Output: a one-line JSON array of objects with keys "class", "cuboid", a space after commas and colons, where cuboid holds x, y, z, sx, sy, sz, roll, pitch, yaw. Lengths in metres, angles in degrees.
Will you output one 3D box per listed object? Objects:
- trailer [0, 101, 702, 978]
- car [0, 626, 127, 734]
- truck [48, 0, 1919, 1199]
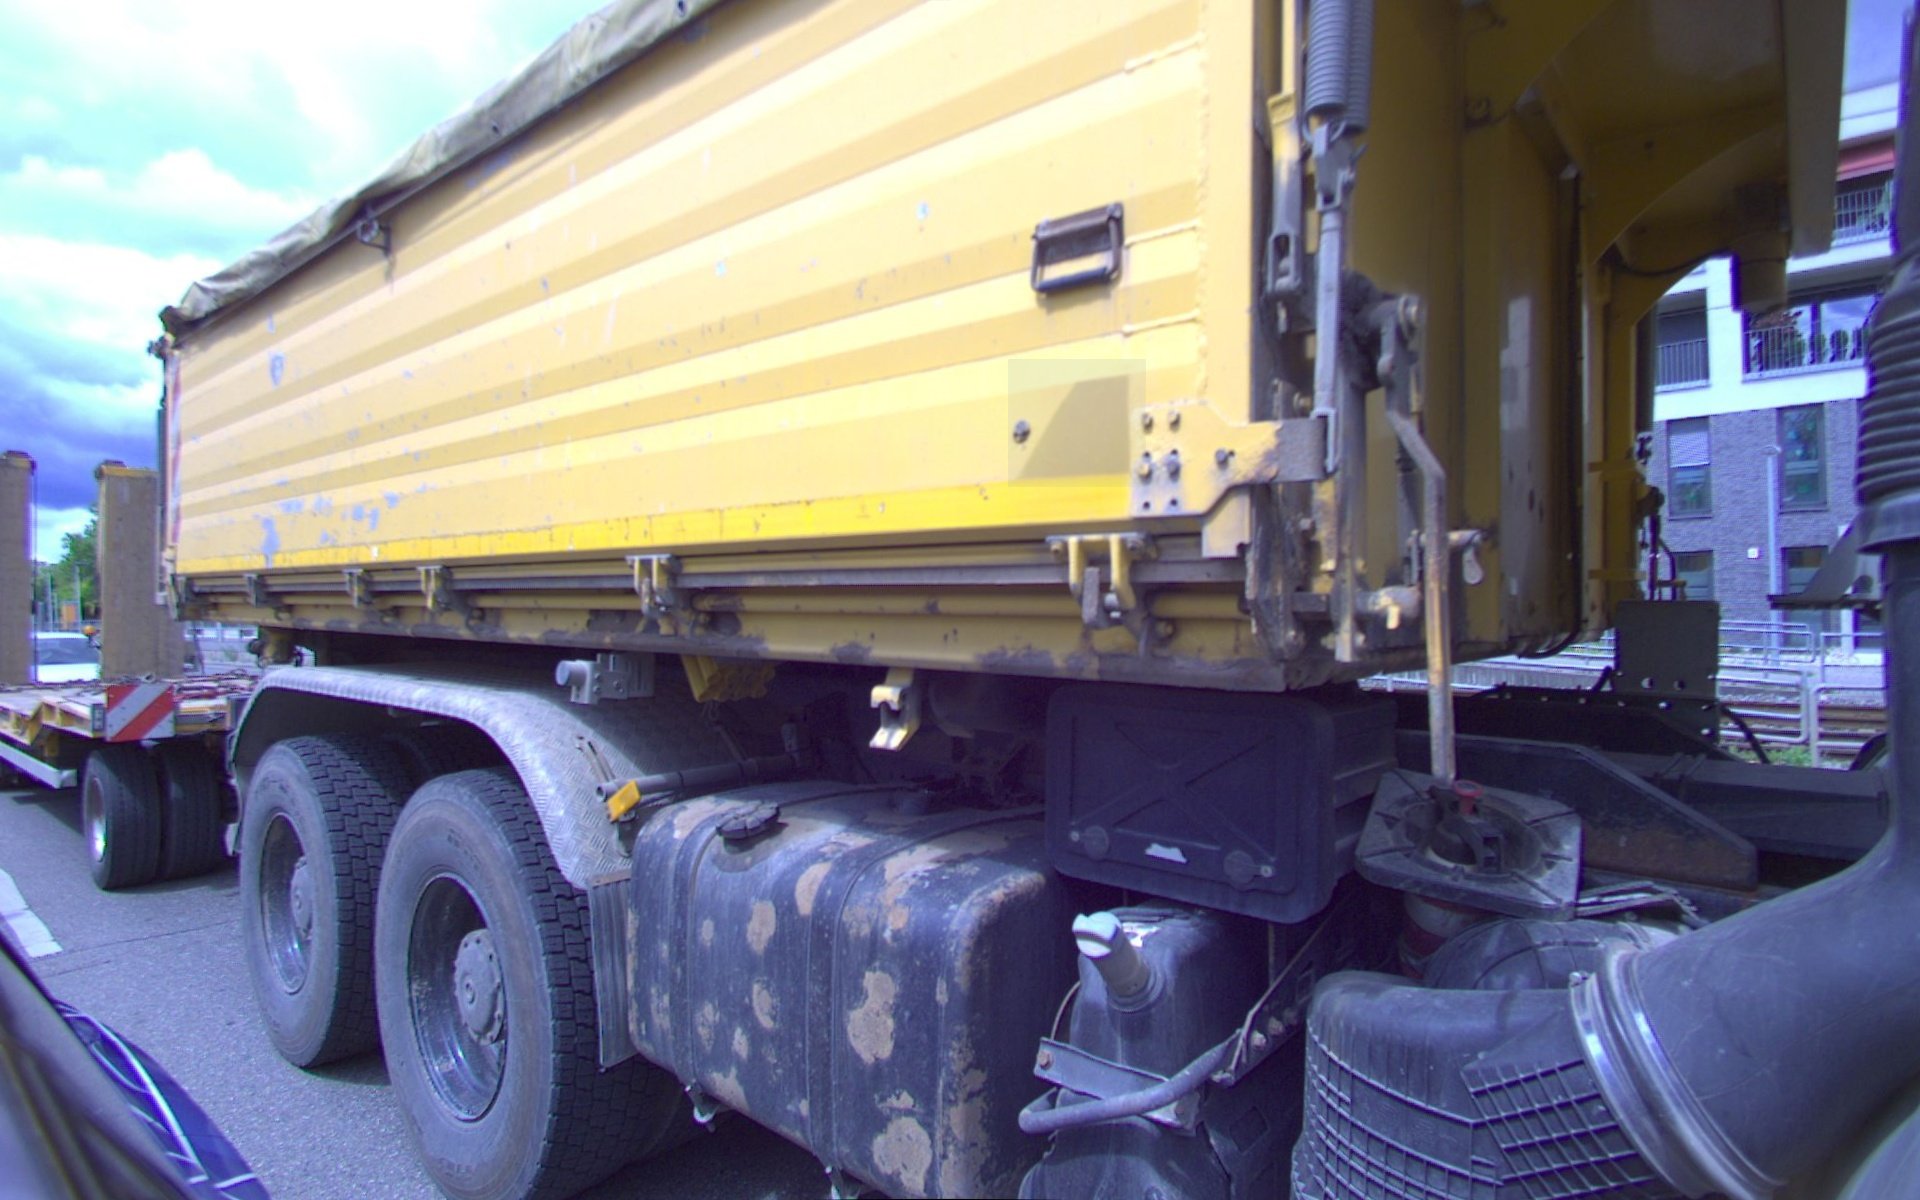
[{"class": "trailer", "cuboid": [-6.854, -0.138, 9.010, 10.957, 3.726, 3.018, -2, -1, 40]}, {"class": "car", "cuboid": [-14.079, 1.134, 15.265, 3.784, 1.427, 1.761, -2, -1, 41]}, {"class": "truck", "cuboid": [0.145, -0.222, 2.889, 7.999, 3.420, 3.019, -2, -1, 40]}]
